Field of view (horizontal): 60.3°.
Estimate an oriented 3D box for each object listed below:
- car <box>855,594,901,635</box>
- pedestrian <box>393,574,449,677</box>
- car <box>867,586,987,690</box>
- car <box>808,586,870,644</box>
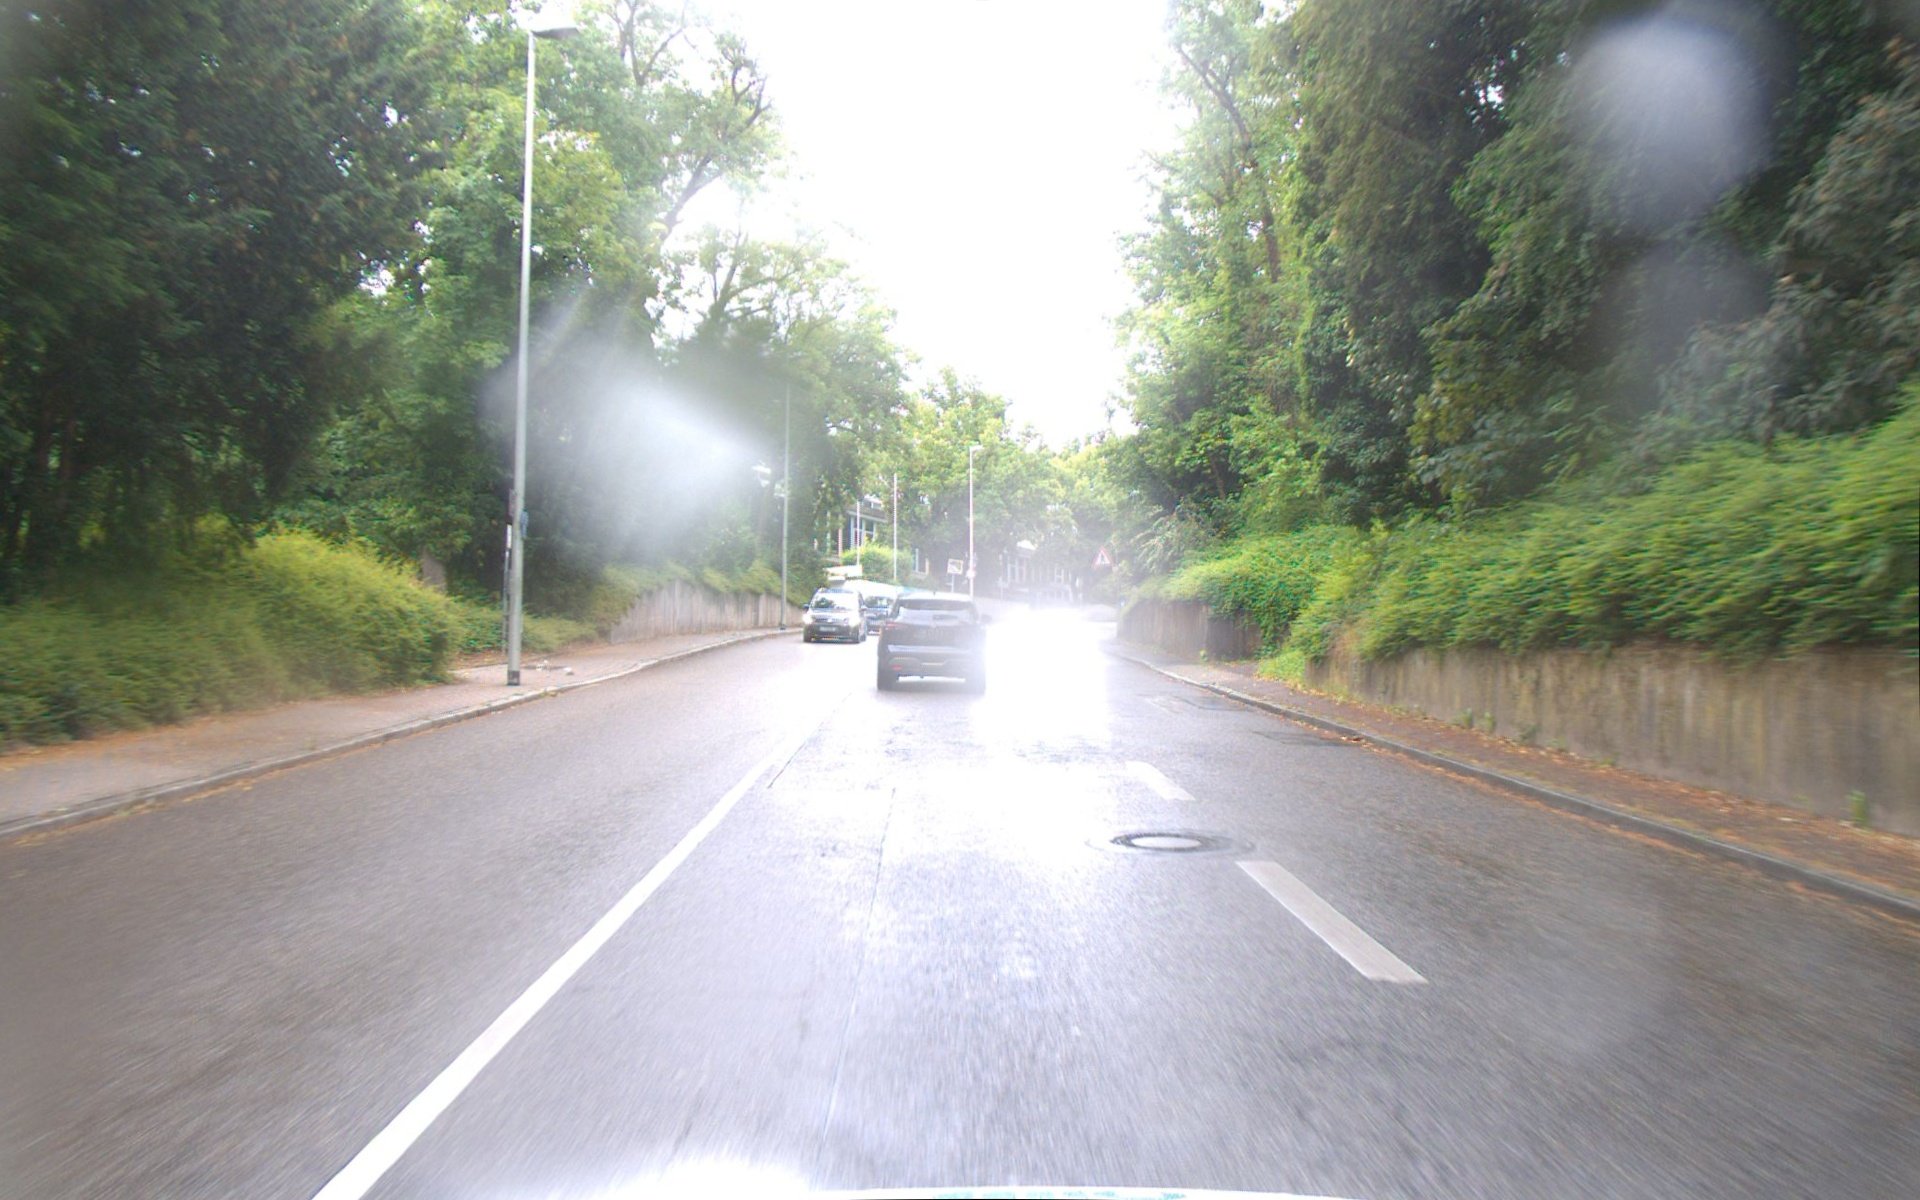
[{"bbox_3d":[-3.093,0.521,62.772,1.641,1.522,3.459,0,0,-1],"label":"car"},{"bbox_3d":[-8.927,0.415,27.389,0.701,1.673,0.704,0,0,-37],"label":"pedestrian"},{"bbox_3d":[-0.555,0.598,28.102,1.889,1.641,3.999,0,0,-1],"label":"car"},{"bbox_3d":[-3.795,0.454,52.298,1.794,1.741,3.998,1,0,-2],"label":"car"}]
